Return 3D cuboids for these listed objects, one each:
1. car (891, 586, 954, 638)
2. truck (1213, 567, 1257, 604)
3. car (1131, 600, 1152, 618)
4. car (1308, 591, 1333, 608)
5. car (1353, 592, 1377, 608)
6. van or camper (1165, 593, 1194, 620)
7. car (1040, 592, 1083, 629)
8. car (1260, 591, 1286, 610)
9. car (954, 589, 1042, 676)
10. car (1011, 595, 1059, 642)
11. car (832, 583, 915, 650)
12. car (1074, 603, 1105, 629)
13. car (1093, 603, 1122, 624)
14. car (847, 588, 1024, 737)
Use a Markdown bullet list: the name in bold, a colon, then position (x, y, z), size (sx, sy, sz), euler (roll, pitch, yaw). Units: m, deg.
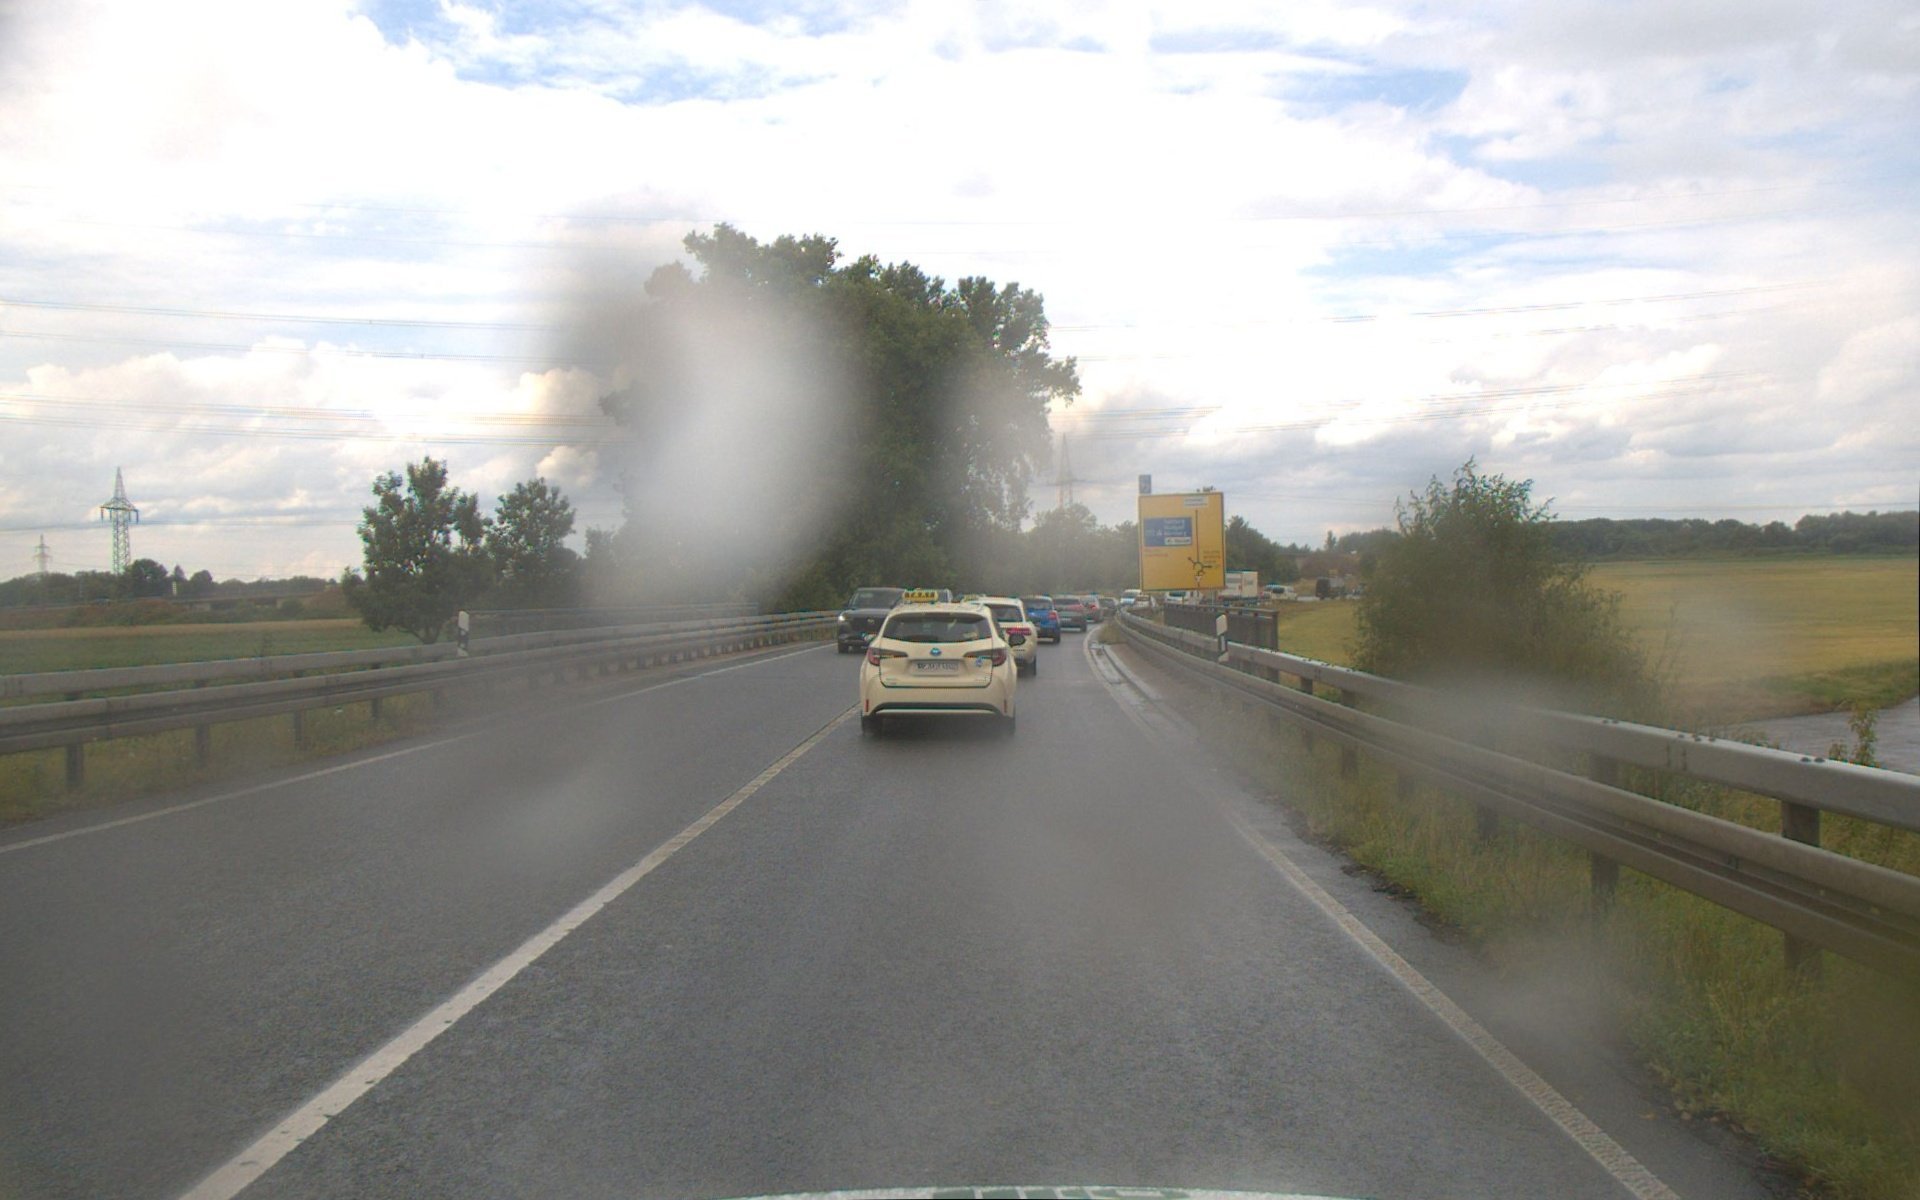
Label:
- **car**: position (-1.301, 0.374, 58.673), size (1.802, 1.730, 4.391), euler (1, 1, 4)
- **truck**: position (28.354, -1.441, 170.363), size (3.075, 3.624, 7.522), euler (0, -1, 21)
- **car**: position (13.840, 0.689, 126.119), size (1.451, 1.332, 3.479), euler (0, 0, 9)
- **car**: position (44.807, -0.057, 205.297), size (1.956, 2.049, 3.993), euler (0, -1, 29)
- **car**: position (54.166, -0.016, 221.180), size (2.183, 2.049, 3.994), euler (0, -1, 28)
- **van or camper**: position (19.057, 0.594, 143.586), size (1.951, 2.293, 4.002), euler (1, -1, 16)
- **car**: position (4.268, 0.430, 69.289), size (1.630, 1.490, 3.479), euler (0, 0, 6)
- **car**: position (35.960, 0.093, 190.068), size (2.123, 2.049, 3.998), euler (0, -1, 24)
- **car**: position (0.795, 0.602, 32.490), size (1.545, 1.600, 3.683), euler (0, 0, 4)
- **car**: position (2.425, 0.587, 53.479), size (1.474, 1.462, 3.357), euler (1, 0, 3)
- **car**: position (-2.239, 0.385, 44.009), size (1.709, 1.682, 4.526), euler (0, 1, 3)
- **car**: position (7.442, 0.947, 94.961), size (1.625, 1.434, 3.907), euler (0, -1, 6)
- **car**: position (9.716, 0.899, 108.890), size (1.451, 1.332, 3.479), euler (0, 0, 12)
- **car**: position (-0.190, 0.671, 19.597), size (1.866, 1.564, 4.162), euler (0, 0, 2)
